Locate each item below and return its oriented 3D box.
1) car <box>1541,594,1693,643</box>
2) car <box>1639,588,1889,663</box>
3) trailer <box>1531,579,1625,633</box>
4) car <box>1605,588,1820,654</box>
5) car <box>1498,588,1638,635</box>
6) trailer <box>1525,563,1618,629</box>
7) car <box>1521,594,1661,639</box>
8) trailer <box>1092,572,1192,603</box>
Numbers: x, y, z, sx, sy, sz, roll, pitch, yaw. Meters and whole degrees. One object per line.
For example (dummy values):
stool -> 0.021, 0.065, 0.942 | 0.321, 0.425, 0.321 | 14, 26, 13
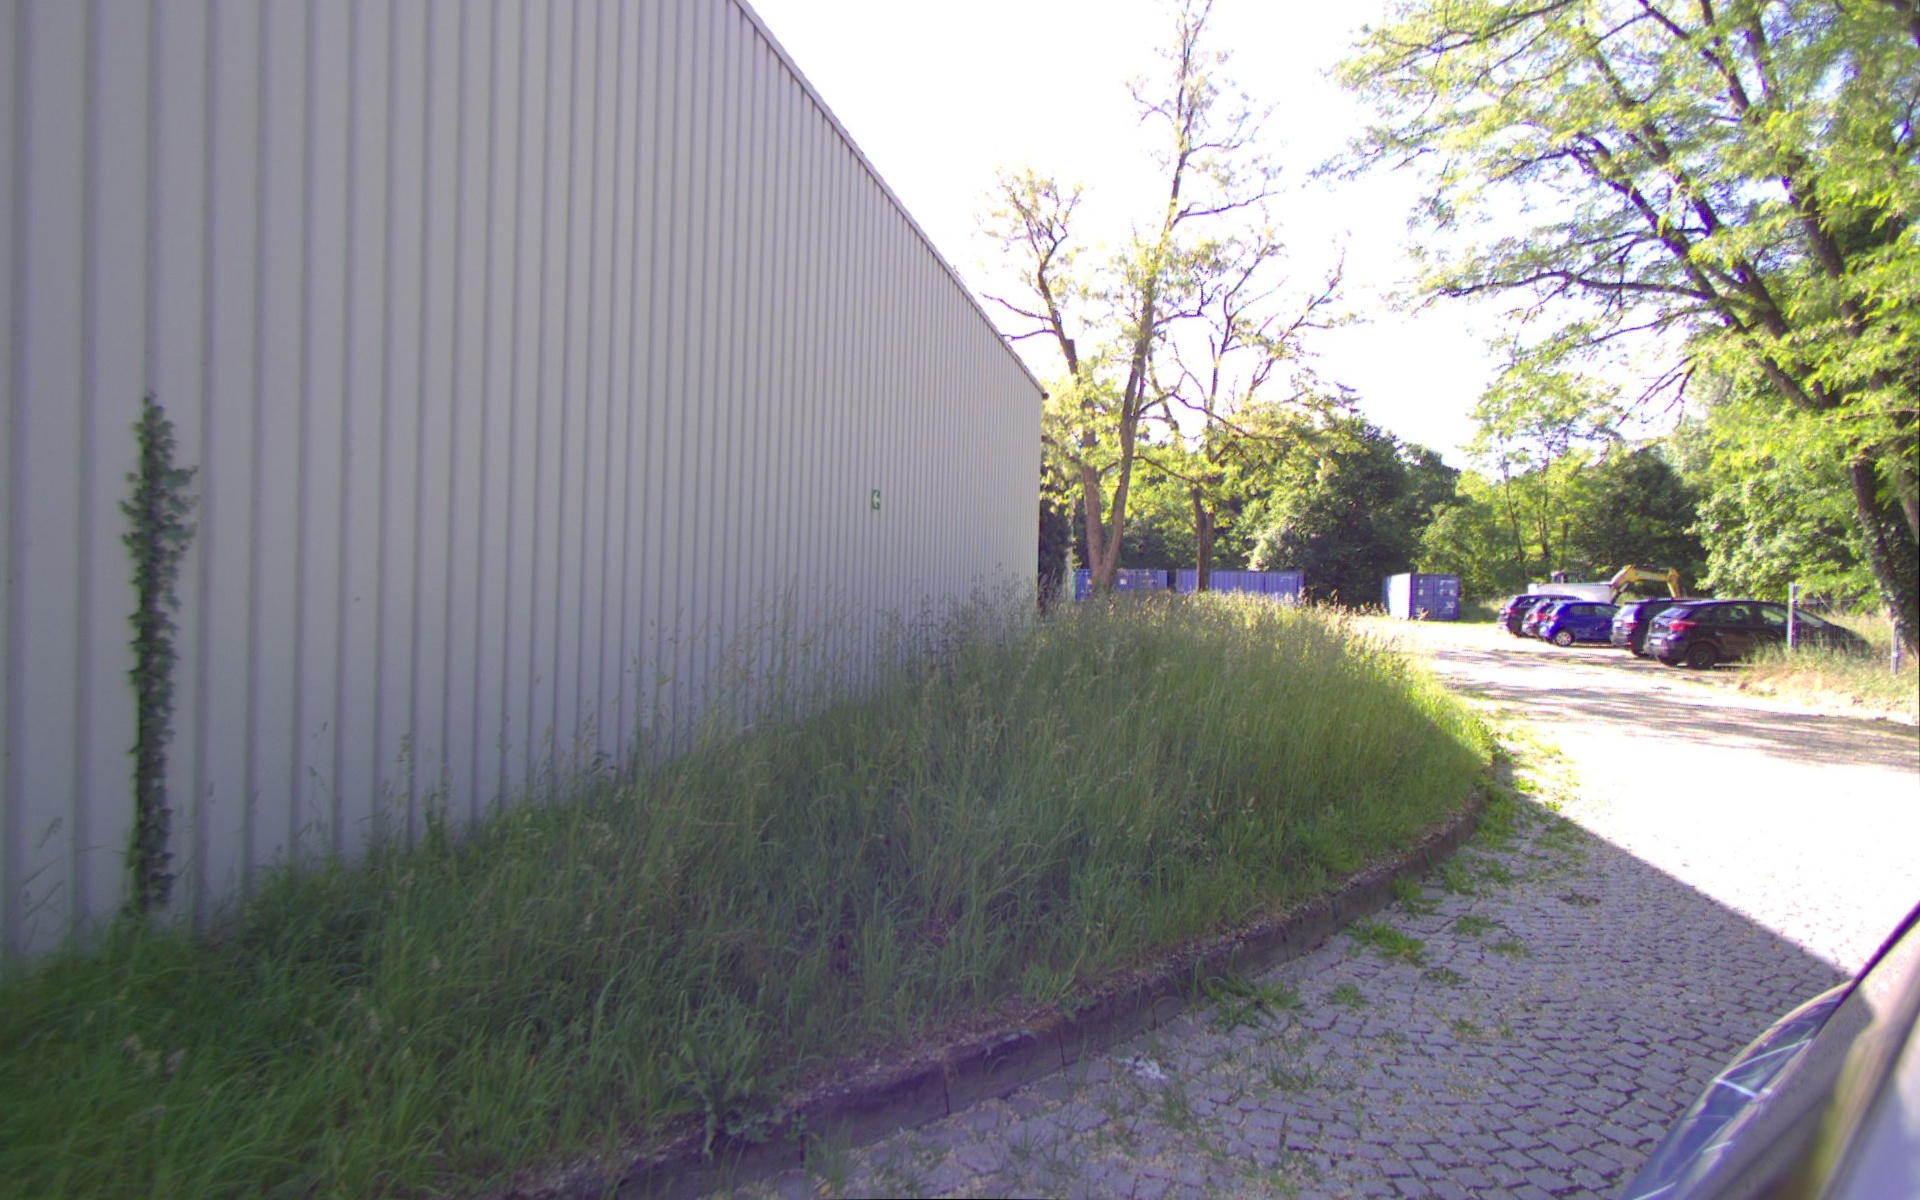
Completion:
car -> 21.048, 0.568, 32.598 | 3.741, 1.477, 1.775 | 0, 1, 20
car -> 19.066, 0.609, 24.220 | 4.209, 1.609, 1.822 | -2, -1, 14
trailer -> 24.267, 0.204, 39.838 | 2.814, 2.076, 1.813 | 1, 1, 20
car -> 20.218, 0.565, 27.380 | 4.209, 1.651, 1.873 | -1, 1, 14
car -> 22.413, 0.398, 37.471 | 4.077, 1.609, 1.959 | 1, 1, 19
trailer -> 25.227, -0.180, 41.875 | 2.814, 2.571, 2.252 | -2, 0, 20
car -> 21.785, 0.543, 35.119 | 3.739, 1.429, 1.885 | 1, 1, 18
trailer -> 9.449, -0.670, 52.413 | 4.799, 1.432, 2.634 | 2, 2, 19
